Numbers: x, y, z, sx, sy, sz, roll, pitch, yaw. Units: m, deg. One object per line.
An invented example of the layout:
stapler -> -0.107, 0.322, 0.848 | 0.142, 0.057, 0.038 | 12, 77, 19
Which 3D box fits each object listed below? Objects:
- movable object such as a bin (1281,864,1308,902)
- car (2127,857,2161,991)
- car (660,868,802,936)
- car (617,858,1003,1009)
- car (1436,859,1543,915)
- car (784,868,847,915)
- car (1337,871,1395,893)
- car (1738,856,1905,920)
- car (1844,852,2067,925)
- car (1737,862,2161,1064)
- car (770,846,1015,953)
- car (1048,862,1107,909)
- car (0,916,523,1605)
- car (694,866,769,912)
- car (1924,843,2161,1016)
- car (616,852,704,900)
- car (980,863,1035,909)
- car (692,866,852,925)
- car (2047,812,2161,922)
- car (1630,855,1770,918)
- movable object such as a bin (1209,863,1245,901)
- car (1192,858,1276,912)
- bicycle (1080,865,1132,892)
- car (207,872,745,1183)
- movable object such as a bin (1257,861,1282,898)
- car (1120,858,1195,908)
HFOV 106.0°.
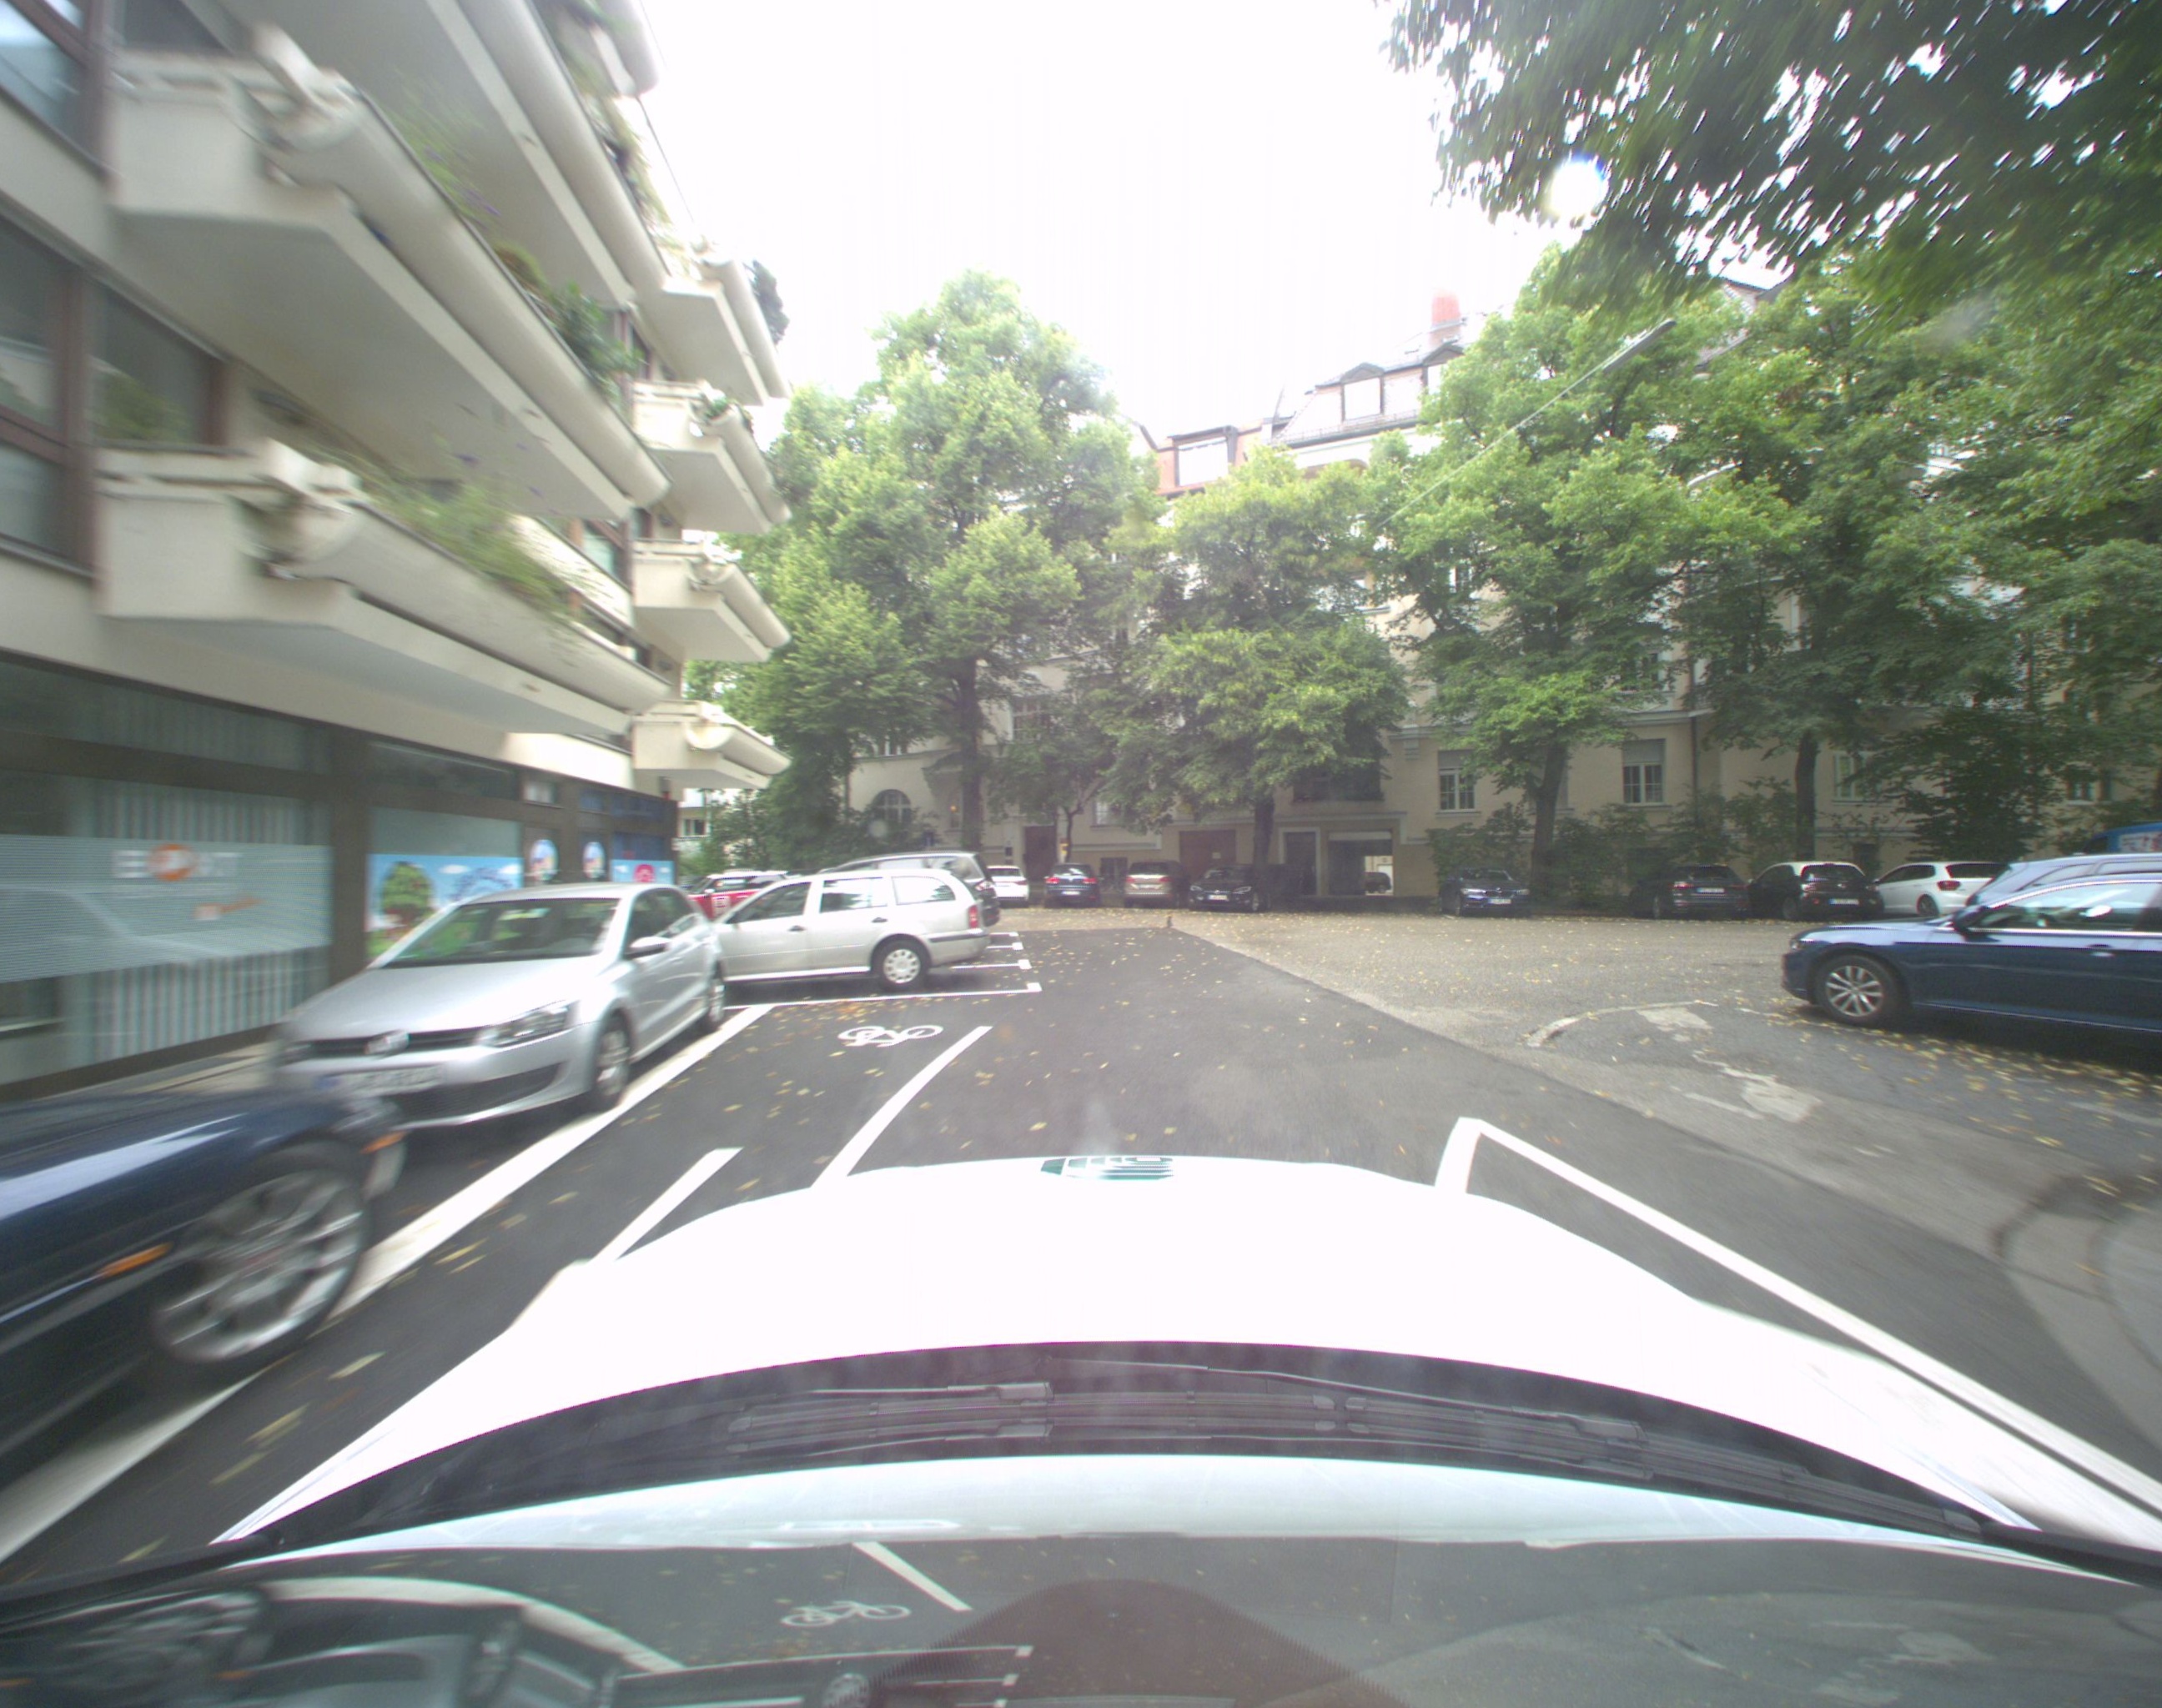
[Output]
movable object such as a bin -> 7.670, 1.013, 29.214 | 0.856, 1.305, 1.439 | 1, 0, 18
car -> 13.033, 0.727, 7.416 | 1.825, 1.447, 3.925 | 0, -1, -17
car -> -9.107, 1.178, 21.217 | 3.306, 1.631, 1.496 | 0, -1, -28
car -> -3.179, 0.895, 10.266 | 4.227, 1.455, 1.716 | -3, 0, -9
car -> 11.074, 0.892, 22.400 | 1.825, 1.383, 4.360 | -1, -2, 16
car -> -9.882, 1.354, 30.573 | 1.700, 1.601, 3.986 | 0, 0, -10
car -> 20.627, 1.998, 59.081 | 3.817, 1.518, 1.663 | 0, -1, 14
car -> 18.152, 0.916, 20.209 | 1.811, 1.426, 3.768 | -1, -5, 21
car -> 20.230, 0.876, 19.141 | 1.782, 1.514, 4.305 | -1, -5, 20
car -> 8.203, 0.750, 6.206 | 1.958, 1.377, 4.705 | 0, -1, -18
car -> -3.477, 0.796, 15.520 | 4.221, 1.684, 1.896 | -3, 0, -10
car -> -0.141, 0.995, 27.013 | 1.786, 1.431, 3.998 | 0, -1, -1
car -> -3.083, 0.935, 1.238 | 1.796, 1.278, 4.603 | -2, 0, -9
car -> -13.050, 1.249, 30.642 | 1.700, 1.601, 3.986 | 0, 0, -10
car -> 10.601, 0.671, 7.247 | 1.752, 1.555, 3.966 | 0, -1, -13
car -> -15.101, 0.758, 29.425 | 1.700, 1.601, 3.986 | 0, 0, -10
car -> -2.519, 1.040, 27.753 | 1.716, 1.431, 3.992 | 0, -1, -6
car -> -7.383, 0.943, 19.510 | 3.466, 1.284, 1.518 | 0, -1, -25
car -> 24.289, 0.305, 17.559 | 2.041, 2.355, 5.523 | 0, -3, 22
car -> 15.543, 0.858, 20.707 | 1.841, 1.426, 4.185 | -1, -3, 23
movable object such as a bin -> 5.416, 1.025, 30.180 | 1.141, 1.348, 1.162 | 0, 0, 17
car -> 4.762, 0.953, 24.830 | 1.689, 1.467, 4.310 | 1, -2, 22
bicycle -> 1.088, 1.058, 35.451 | 2.210, 1.115, 0.579 | 0, -1, 20
car -> -3.834, 0.901, 6.057 | 1.560, 1.421, 3.821 | -2, 0, -9
movable object such as a bin -> 6.925, 0.919, 29.878 | 0.707, 1.348, 1.380 | -1, -1, 19
car -> 2.611, 0.913, 26.862 | 1.825, 1.530, 4.040 | 0, -1, 14
